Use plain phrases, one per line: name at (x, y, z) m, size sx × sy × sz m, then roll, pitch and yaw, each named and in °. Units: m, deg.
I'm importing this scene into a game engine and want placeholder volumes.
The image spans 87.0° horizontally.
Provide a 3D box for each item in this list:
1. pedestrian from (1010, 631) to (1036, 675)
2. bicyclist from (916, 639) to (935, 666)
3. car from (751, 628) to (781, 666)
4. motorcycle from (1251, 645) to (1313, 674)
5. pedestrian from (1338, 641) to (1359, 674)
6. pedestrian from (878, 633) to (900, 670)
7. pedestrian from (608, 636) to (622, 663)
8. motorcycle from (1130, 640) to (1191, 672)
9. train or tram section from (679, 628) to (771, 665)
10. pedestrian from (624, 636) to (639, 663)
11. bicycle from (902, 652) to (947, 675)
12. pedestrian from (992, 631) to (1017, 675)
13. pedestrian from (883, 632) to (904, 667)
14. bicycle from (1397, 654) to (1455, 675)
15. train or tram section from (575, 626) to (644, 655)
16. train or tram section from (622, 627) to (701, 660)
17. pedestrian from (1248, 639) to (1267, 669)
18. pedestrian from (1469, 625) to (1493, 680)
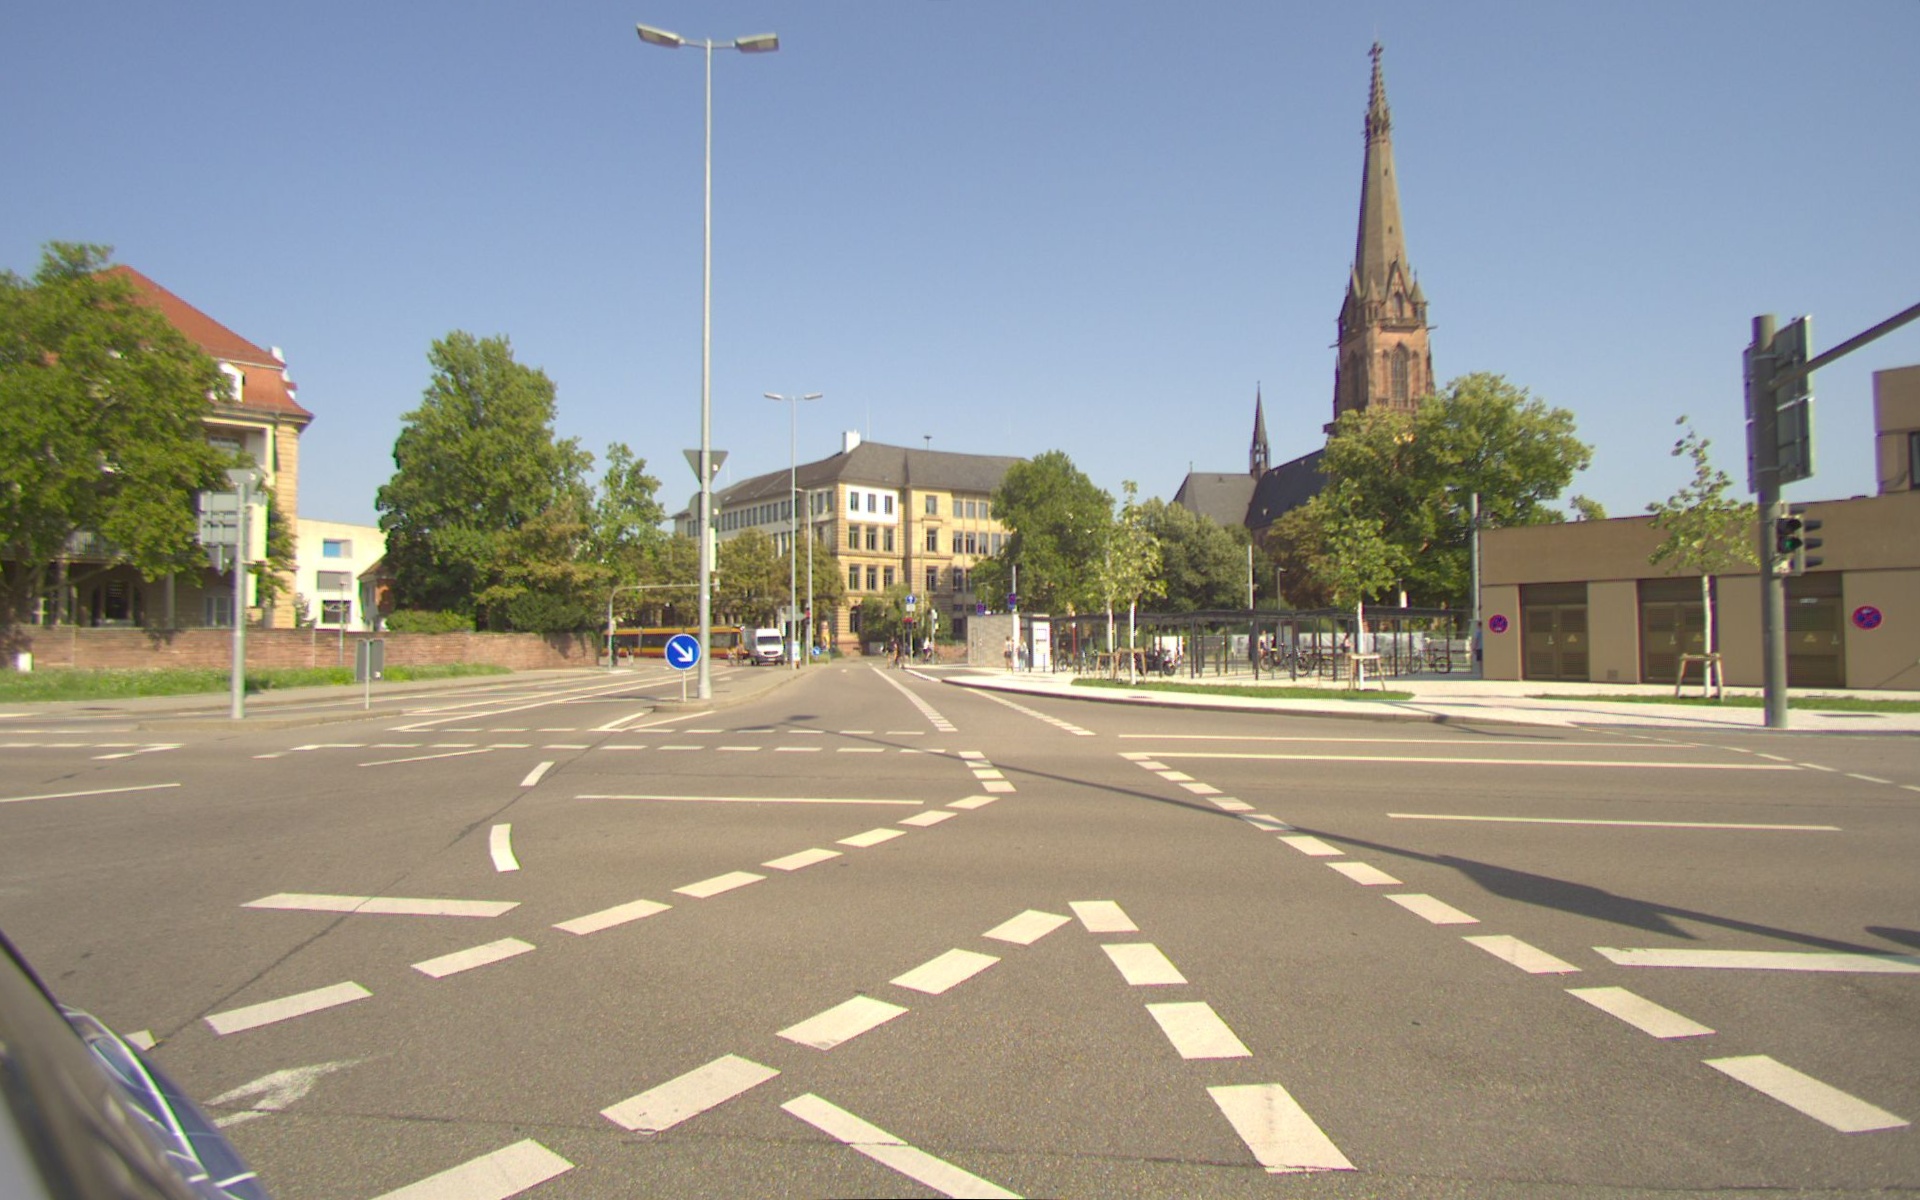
pedestrian at (2.964, 2.482, 47.707) m, size 0.847 × 2.029 × 1.010 m, roll 0°, pitch -3°, yaw -19°
bicyclist at (-2.332, 3.510, 67.372) m, size 1.032 × 1.731 × 1.041 m, roll -1°, pitch 0°, yaw -15°
car at (-13.796, 3.298, 72.021) m, size 1.967 × 2.470 × 5.564 m, roll -1°, pitch 0°, yaw -11°
motorcycle at (13.732, 2.533, 43.191) m, size 2.372 × 1.214 × 0.749 m, roll -3°, pitch -3°, yaw 40°
pedestrian at (16.837, 2.476, 43.864) m, size 0.588 × 1.419 × 0.681 m, roll -3°, pitch -3°, yaw 44°
pedestrian at (-3.959, 2.876, 56.669) m, size 1.194 × 2.029 × 1.343 m, roll 0°, pitch -3°, yaw -2°
pedestrian at (-26.912, 3.864, 78.932) m, size 0.809 × 2.029 × 0.818 m, roll -1°, pitch 0°, yaw -41°
motorcycle at (9.465, 2.635, 47.835) m, size 2.768 × 1.460 × 0.779 m, roll -3°, pitch -3°, yaw 41°
train or tram section at (-24.190, 4.624, 103.210) m, size 2.596 × 3.241 × 13.905 m, roll -1°, pitch 0°, yaw -43°
pedestrian at (-25.400, 3.802, 78.221) m, size 0.822 × 2.029 × 0.805 m, roll -1°, pitch 0°, yaw 45°
bicycle at (-2.373, 4.204, 67.356) m, size 2.813 × 1.383 × 1.041 m, roll -1°, pitch 0°, yaw -15°
pedestrian at (2.074, 2.494, 47.505) m, size 0.847 × 2.029 × 1.010 m, roll 0°, pitch -3°, yaw -19°
pedestrian at (-3.869, 2.875, 58.782) m, size 1.194 × 2.029 × 1.343 m, roll 0°, pitch -3°, yaw -2°
bicycle at (18.100, 2.508, 39.316) m, size 1.929 × 0.786 × 0.621 m, roll -3°, pitch -3°, yaw 44°
train or tram section at (-42.991, 4.867, 123.601) m, size 2.596 × 3.241 × 13.905 m, roll -1°, pitch 0°, yaw -43°
train or tram section at (-33.608, 4.746, 113.440) m, size 2.596 × 3.241 × 13.905 m, roll -1°, pitch 0°, yaw -43°
pedestrian at (14.240, 2.567, 48.493) m, size 0.588 × 1.419 × 0.681 m, roll -3°, pitch -3°, yaw 44°
pedestrian at (16.689, 1.679, 32.426) m, size 0.516 × 1.719 × 0.409 m, roll 0°, pitch -3°, yaw -18°
